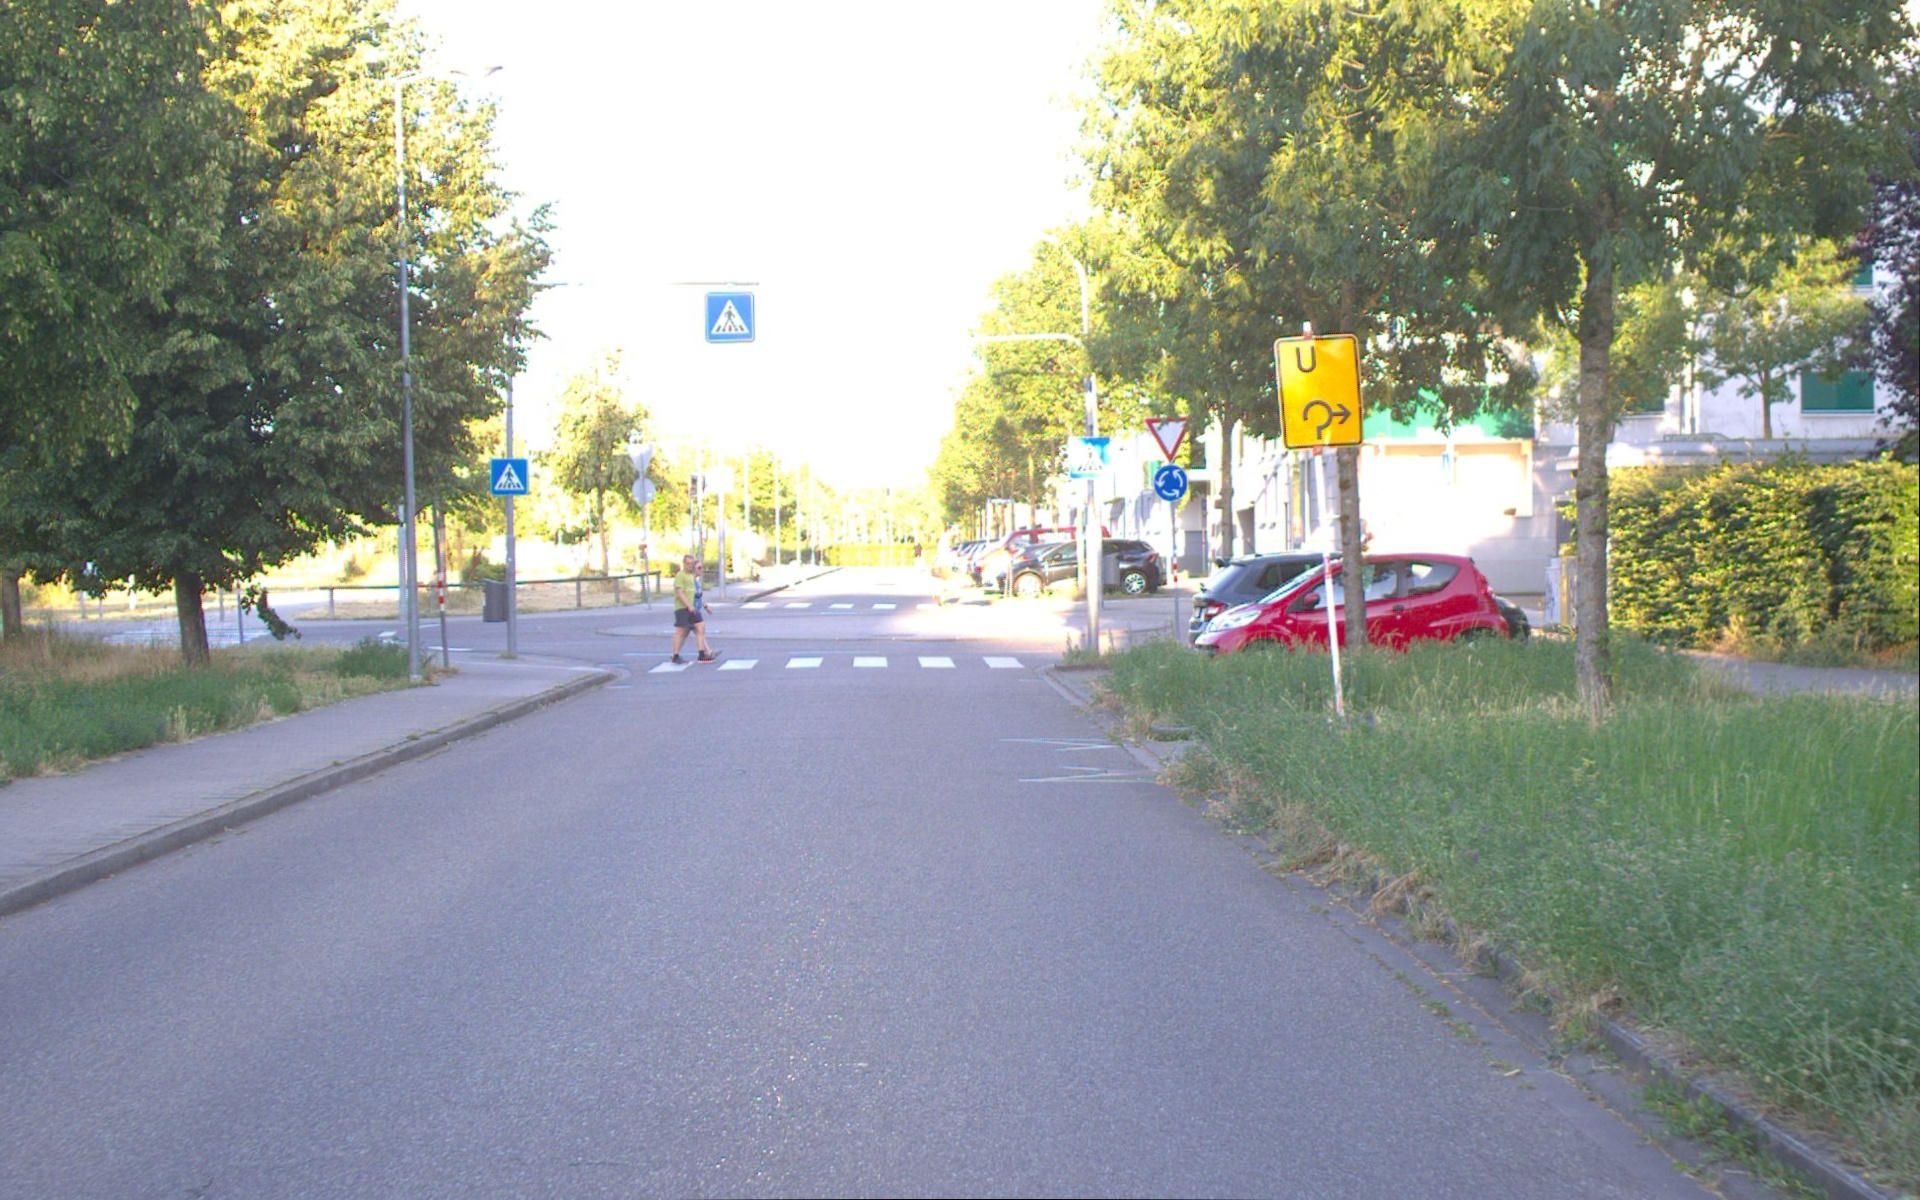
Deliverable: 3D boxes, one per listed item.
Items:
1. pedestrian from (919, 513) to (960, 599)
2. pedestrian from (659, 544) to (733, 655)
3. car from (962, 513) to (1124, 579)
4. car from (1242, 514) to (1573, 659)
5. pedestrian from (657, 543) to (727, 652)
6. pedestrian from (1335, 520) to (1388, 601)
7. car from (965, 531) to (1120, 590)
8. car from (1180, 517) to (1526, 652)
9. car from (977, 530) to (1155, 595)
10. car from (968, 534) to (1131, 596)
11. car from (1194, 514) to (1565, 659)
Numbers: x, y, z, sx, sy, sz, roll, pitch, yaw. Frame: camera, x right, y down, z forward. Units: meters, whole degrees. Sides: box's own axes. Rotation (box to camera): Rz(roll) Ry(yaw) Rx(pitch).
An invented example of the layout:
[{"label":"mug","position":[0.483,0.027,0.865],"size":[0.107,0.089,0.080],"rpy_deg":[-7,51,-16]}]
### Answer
[{"label":"pedestrian","position":[-0.484,-1.038,80.839],"size":[0.846,2.007,0.943],"rpy_deg":[-1,1,5]},{"label":"pedestrian","position":[-4.076,-0.019,52.978],"size":[1.018,1.687,0.760],"rpy_deg":[-1,1,-12]},{"label":"car","position":[2.657,-1.748,111.343],"size":[5.002,2.038,2.251],"rpy_deg":[-1,1,-5]},{"label":"car","position":[5.603,-0.188,43.248],"size":[3.802,1.503,1.680],"rpy_deg":[-3,6,-7]},{"label":"pedestrian","position":[-4.202,-0.041,53.929],"size":[0.983,1.687,0.700],"rpy_deg":[-1,1,-12]},{"label":"pedestrian","position":[8.933,-0.882,76.493],"size":[1.003,1.782,0.762],"rpy_deg":[0,1,-7]},{"label":"car","position":[2.284,-1.110,96.060],"size":[4.263,1.590,2.000],"rpy_deg":[-1,1,0]},{"label":"car","position":[4.577,-0.197,40.408],"size":[3.802,1.503,1.679],"rpy_deg":[-1,1,-3]},{"label":"car","position":[2.698,-0.968,88.227],"size":[4.484,1.590,2.000],"rpy_deg":[-1,1,0]},{"label":"car","position":[2.416,-0.957,93.332],"size":[4.355,1.590,2.000],"rpy_deg":[-1,1,0]},{"label":"car","position":[4.576,-0.162,37.844],"size":[3.802,1.503,1.679],"rpy_deg":[-1,1,-3]}]
